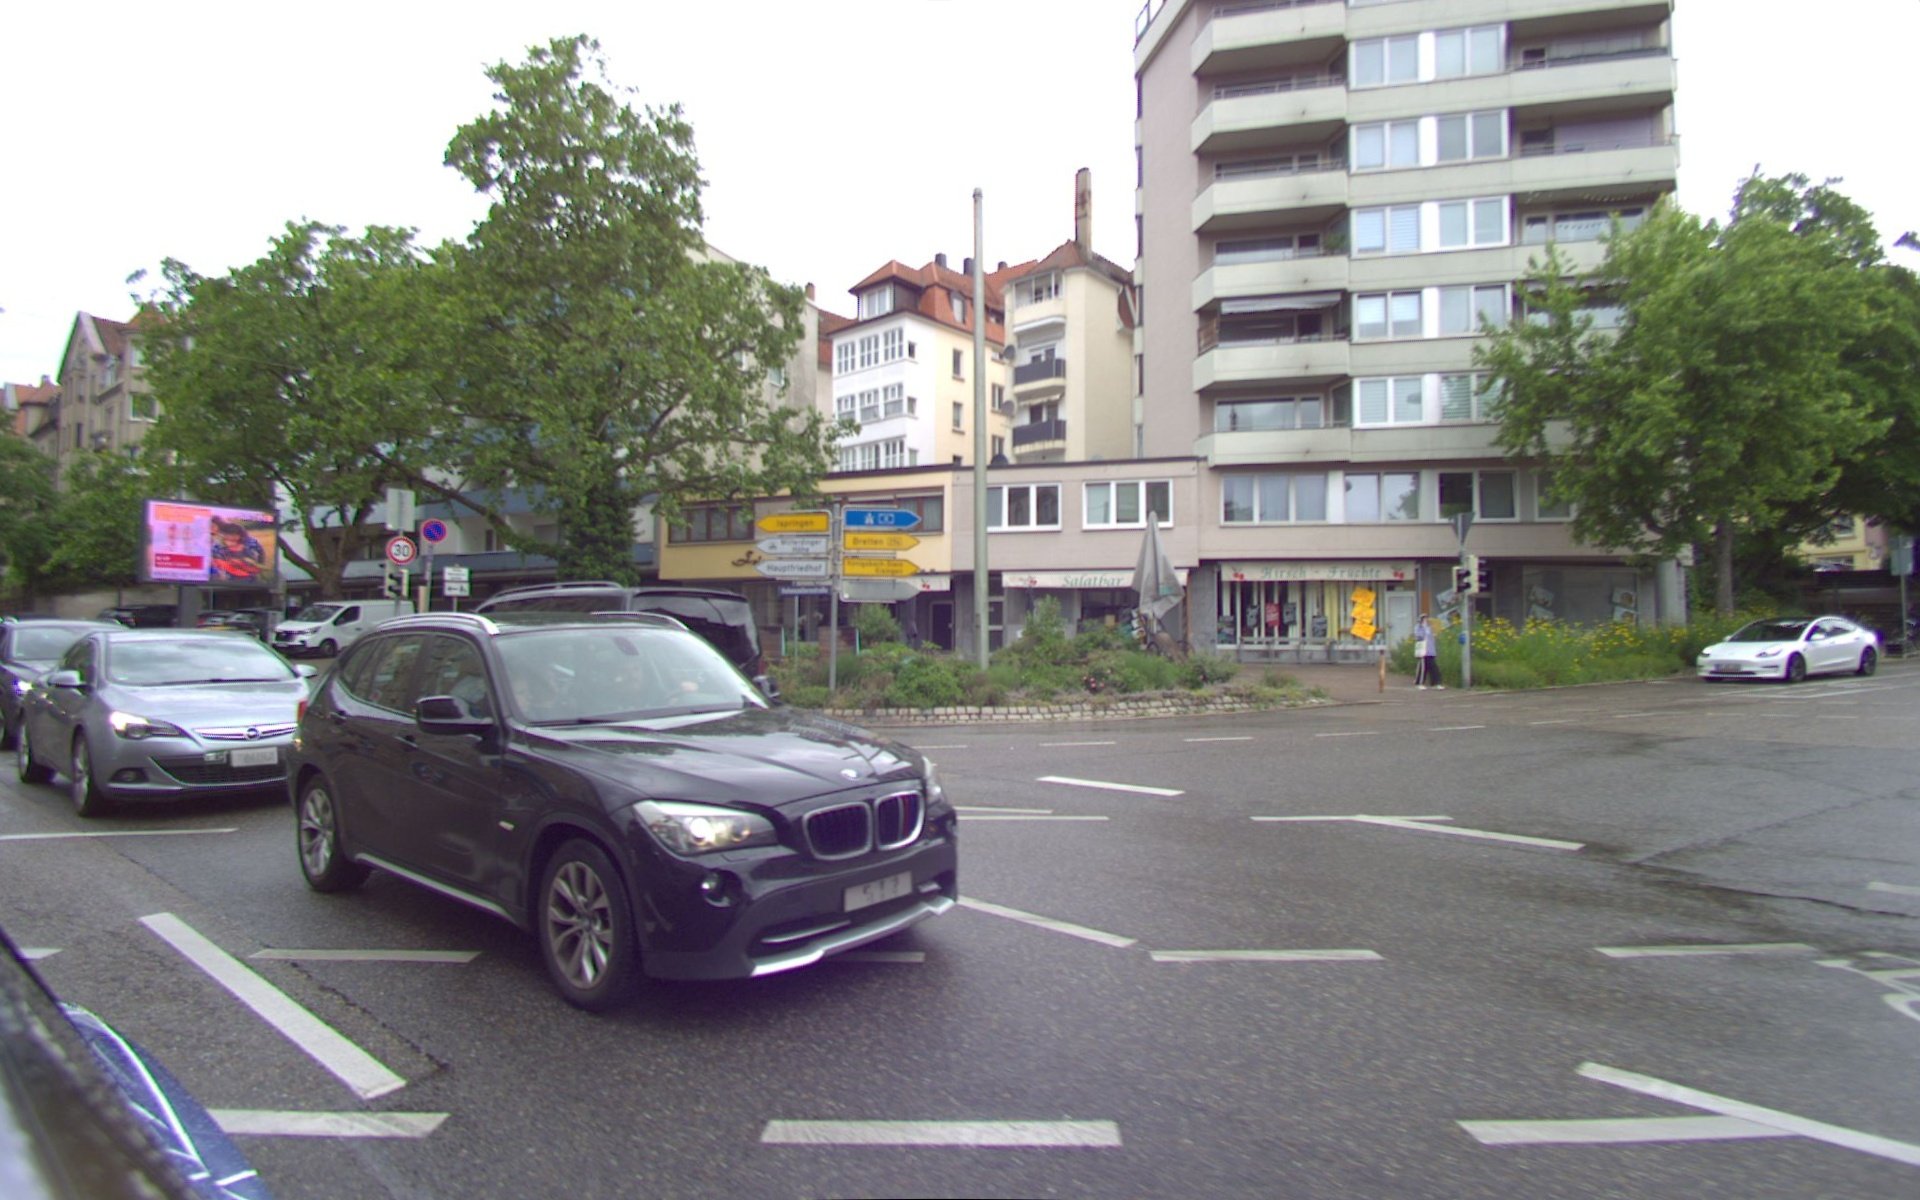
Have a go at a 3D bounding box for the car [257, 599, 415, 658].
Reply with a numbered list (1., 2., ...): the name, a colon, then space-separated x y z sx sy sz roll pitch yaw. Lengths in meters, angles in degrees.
1. car: -22.746 0.970 37.156 1.865 1.992 4.948 1 0 18

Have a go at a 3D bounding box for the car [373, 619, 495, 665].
1. car: -18.083 1.411 34.975 1.794 1.426 3.691 1 0 12

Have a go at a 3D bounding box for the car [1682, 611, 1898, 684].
1. car: 18.912 1.013 23.070 4.317 1.503 1.920 0 -1 -22

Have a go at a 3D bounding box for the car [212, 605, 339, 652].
1. car: -26.976 1.101 40.017 1.792 1.702 3.812 1 -1 19

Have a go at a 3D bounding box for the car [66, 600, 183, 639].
1. car: -37.130 0.830 45.088 1.751 1.543 3.825 1 2 10

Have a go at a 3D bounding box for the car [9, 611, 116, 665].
1. car: -26.990 1.105 30.407 3.676 1.508 1.698 -1 -1 37

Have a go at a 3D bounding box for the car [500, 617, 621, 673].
1. car: -13.130 1.435 33.536 1.919 1.655 4.206 1 0 8

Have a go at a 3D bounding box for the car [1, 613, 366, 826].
1. car: -7.120 0.884 9.127 4.177 1.494 1.734 -1 -2 40

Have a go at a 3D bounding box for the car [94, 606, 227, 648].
1. car: -34.004 1.094 43.184 1.794 1.605 4.293 1 1 14

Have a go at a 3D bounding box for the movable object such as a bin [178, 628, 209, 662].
1. movable object such as a bin: -25.491 1.487 33.656 0.626 1.088 0.636 1 -1 35

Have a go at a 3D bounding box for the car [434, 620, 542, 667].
1. car: -15.880 1.426 34.265 1.612 1.426 3.613 1 0 8

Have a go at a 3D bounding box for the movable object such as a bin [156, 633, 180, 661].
1. movable object such as a bin: -26.117 1.548 33.370 0.545 0.908 0.479 1 -1 35

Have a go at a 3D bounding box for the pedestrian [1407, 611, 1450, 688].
1. pedestrian: 10.612 1.100 22.937 0.610 1.706 0.626 0 -1 -9

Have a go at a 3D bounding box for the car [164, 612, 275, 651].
1. car: -31.341 1.309 42.975 1.660 1.416 3.829 1 2 7

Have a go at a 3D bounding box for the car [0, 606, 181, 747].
1. car: -12.372 0.967 13.842 4.206 1.657 1.735 -2 -2 38

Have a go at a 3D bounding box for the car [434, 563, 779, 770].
1. car: -4.007 0.633 11.128 4.144 1.860 1.724 0 -2 41

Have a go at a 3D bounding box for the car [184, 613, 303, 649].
1. car: -29.547 1.253 41.869 1.677 1.416 3.815 1 -1 17

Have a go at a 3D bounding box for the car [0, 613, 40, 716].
1. car: -17.844 1.077 17.752 4.371 1.657 1.736 0 0 37

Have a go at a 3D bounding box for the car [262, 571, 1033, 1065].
1. car: -1.849 0.720 5.190 4.210 1.546 1.735 -1 -1 39
